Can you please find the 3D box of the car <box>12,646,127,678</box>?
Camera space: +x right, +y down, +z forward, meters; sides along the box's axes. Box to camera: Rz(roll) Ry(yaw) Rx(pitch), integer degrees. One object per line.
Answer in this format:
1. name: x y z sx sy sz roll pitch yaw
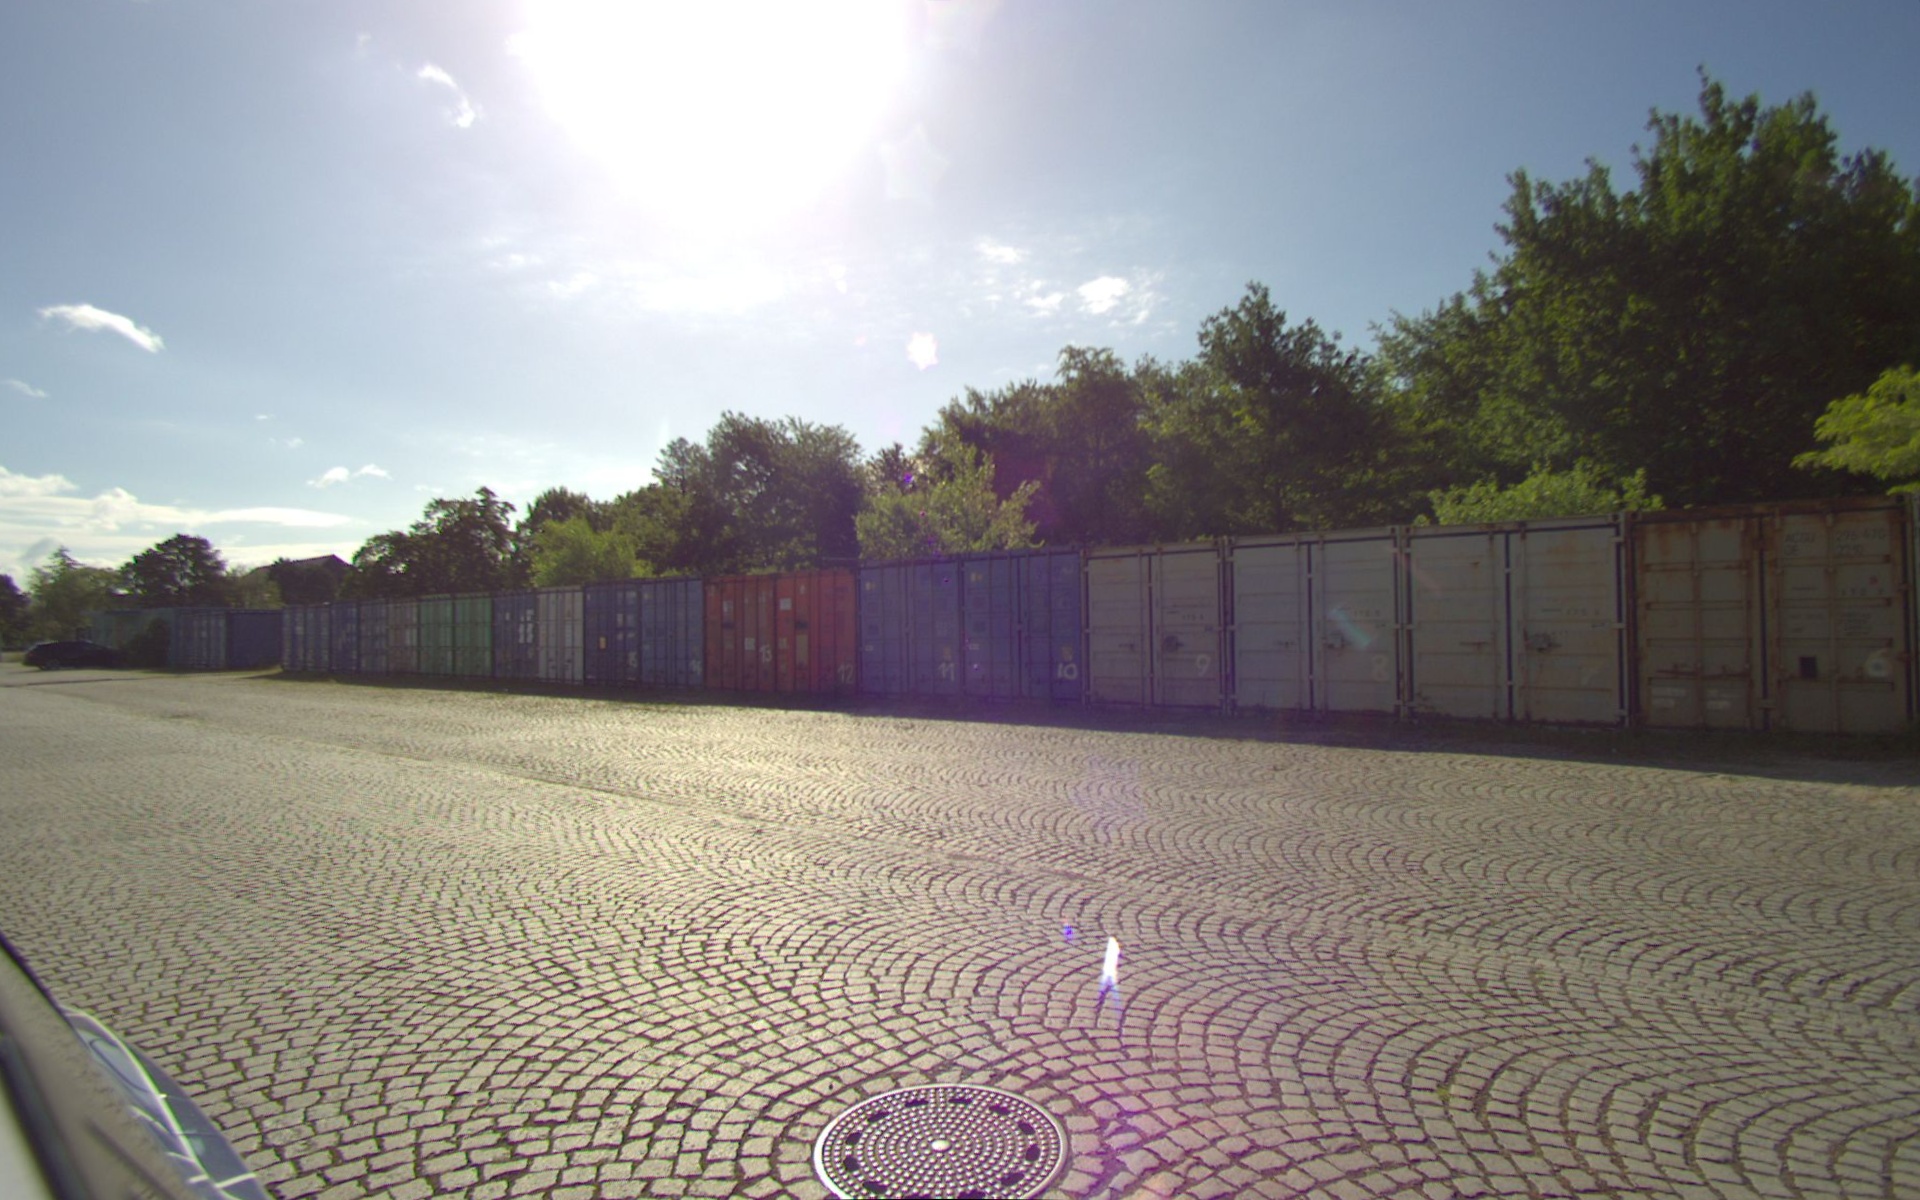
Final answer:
1. car: -45.007 3.097 51.191 1.997 1.306 4.063 -2 0 38
